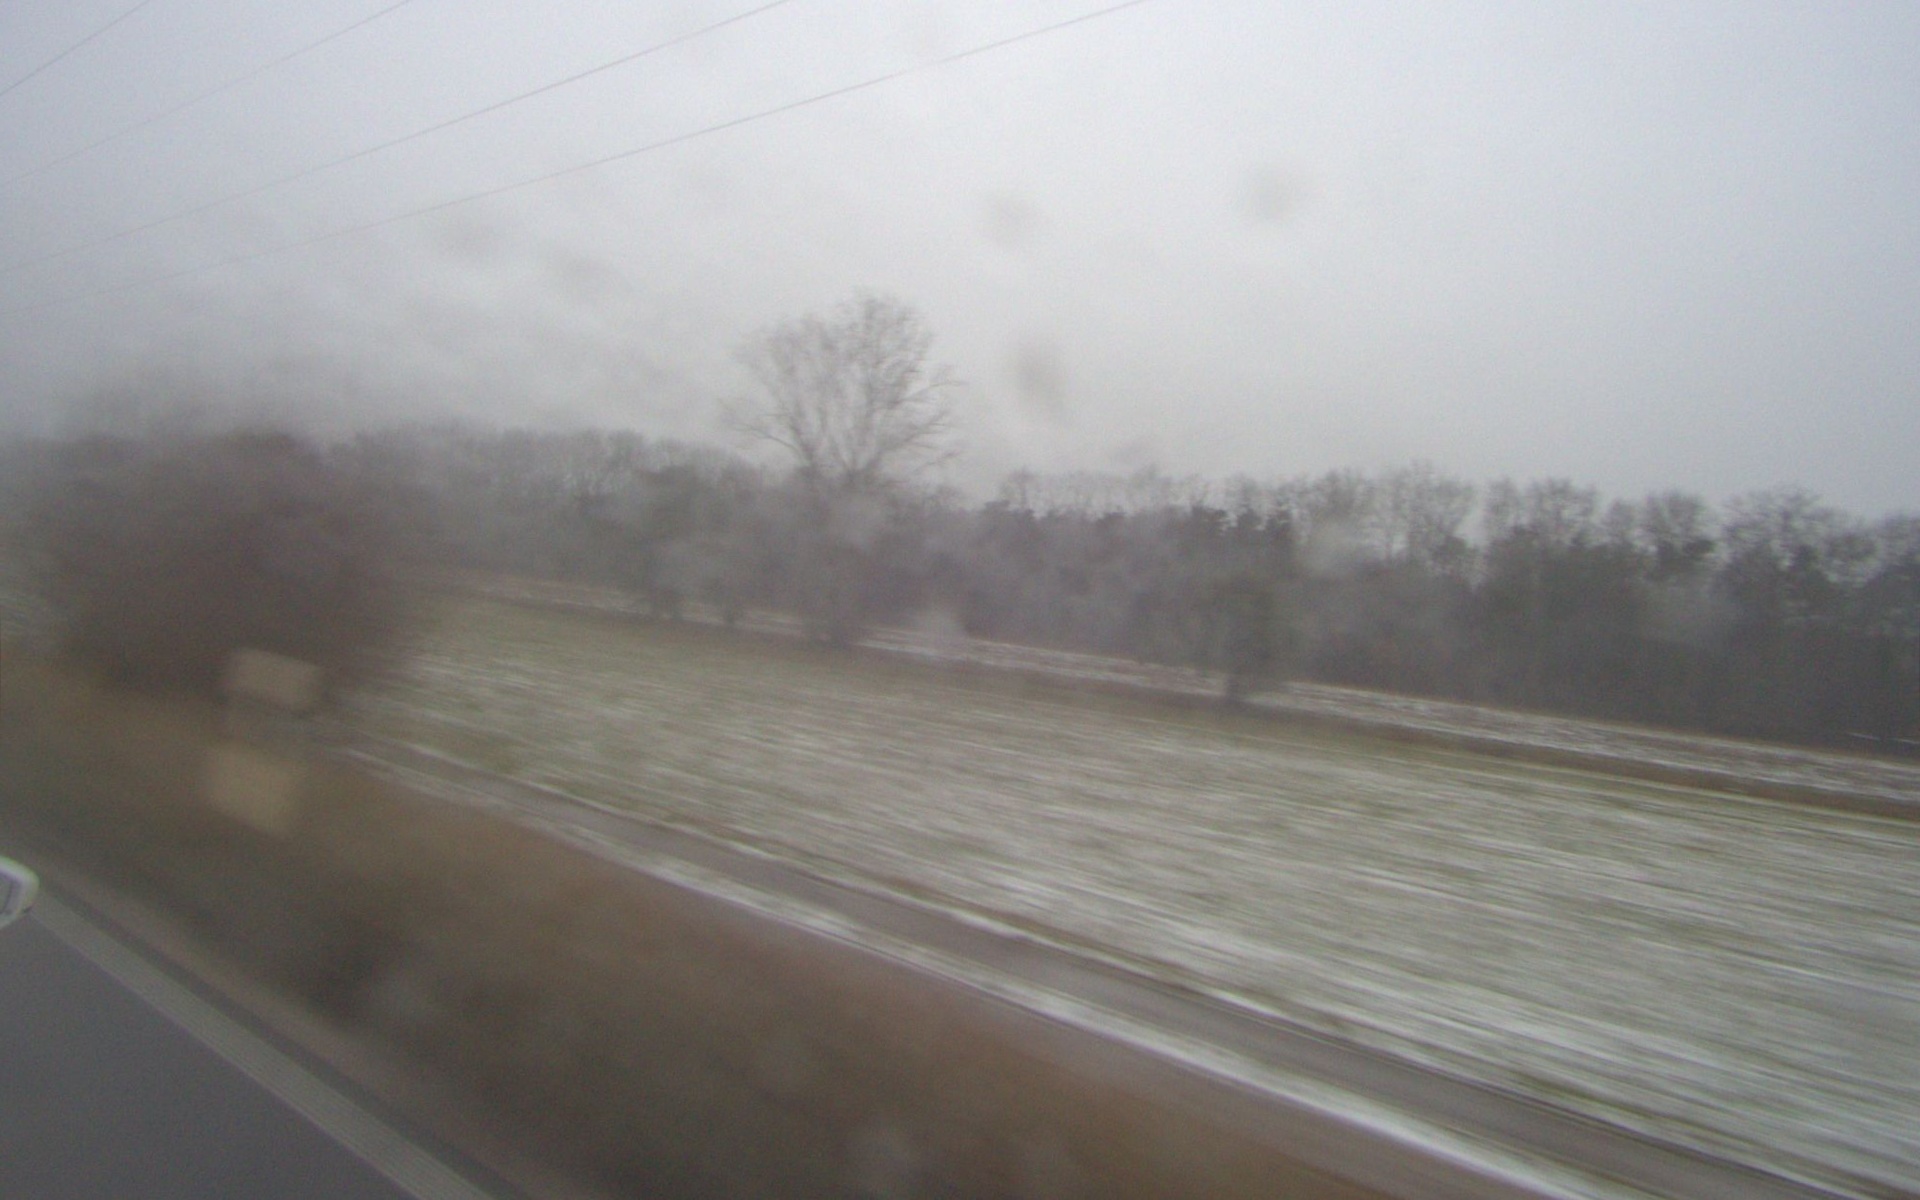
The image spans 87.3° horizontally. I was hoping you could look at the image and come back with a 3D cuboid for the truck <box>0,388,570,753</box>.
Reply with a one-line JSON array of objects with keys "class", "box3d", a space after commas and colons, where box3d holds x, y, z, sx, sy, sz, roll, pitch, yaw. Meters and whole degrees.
[{"class": "truck", "box3d": [-8.163, -0.506, 11.325, 7.725, 3.013, 2.539, 7, -1, 31]}]
